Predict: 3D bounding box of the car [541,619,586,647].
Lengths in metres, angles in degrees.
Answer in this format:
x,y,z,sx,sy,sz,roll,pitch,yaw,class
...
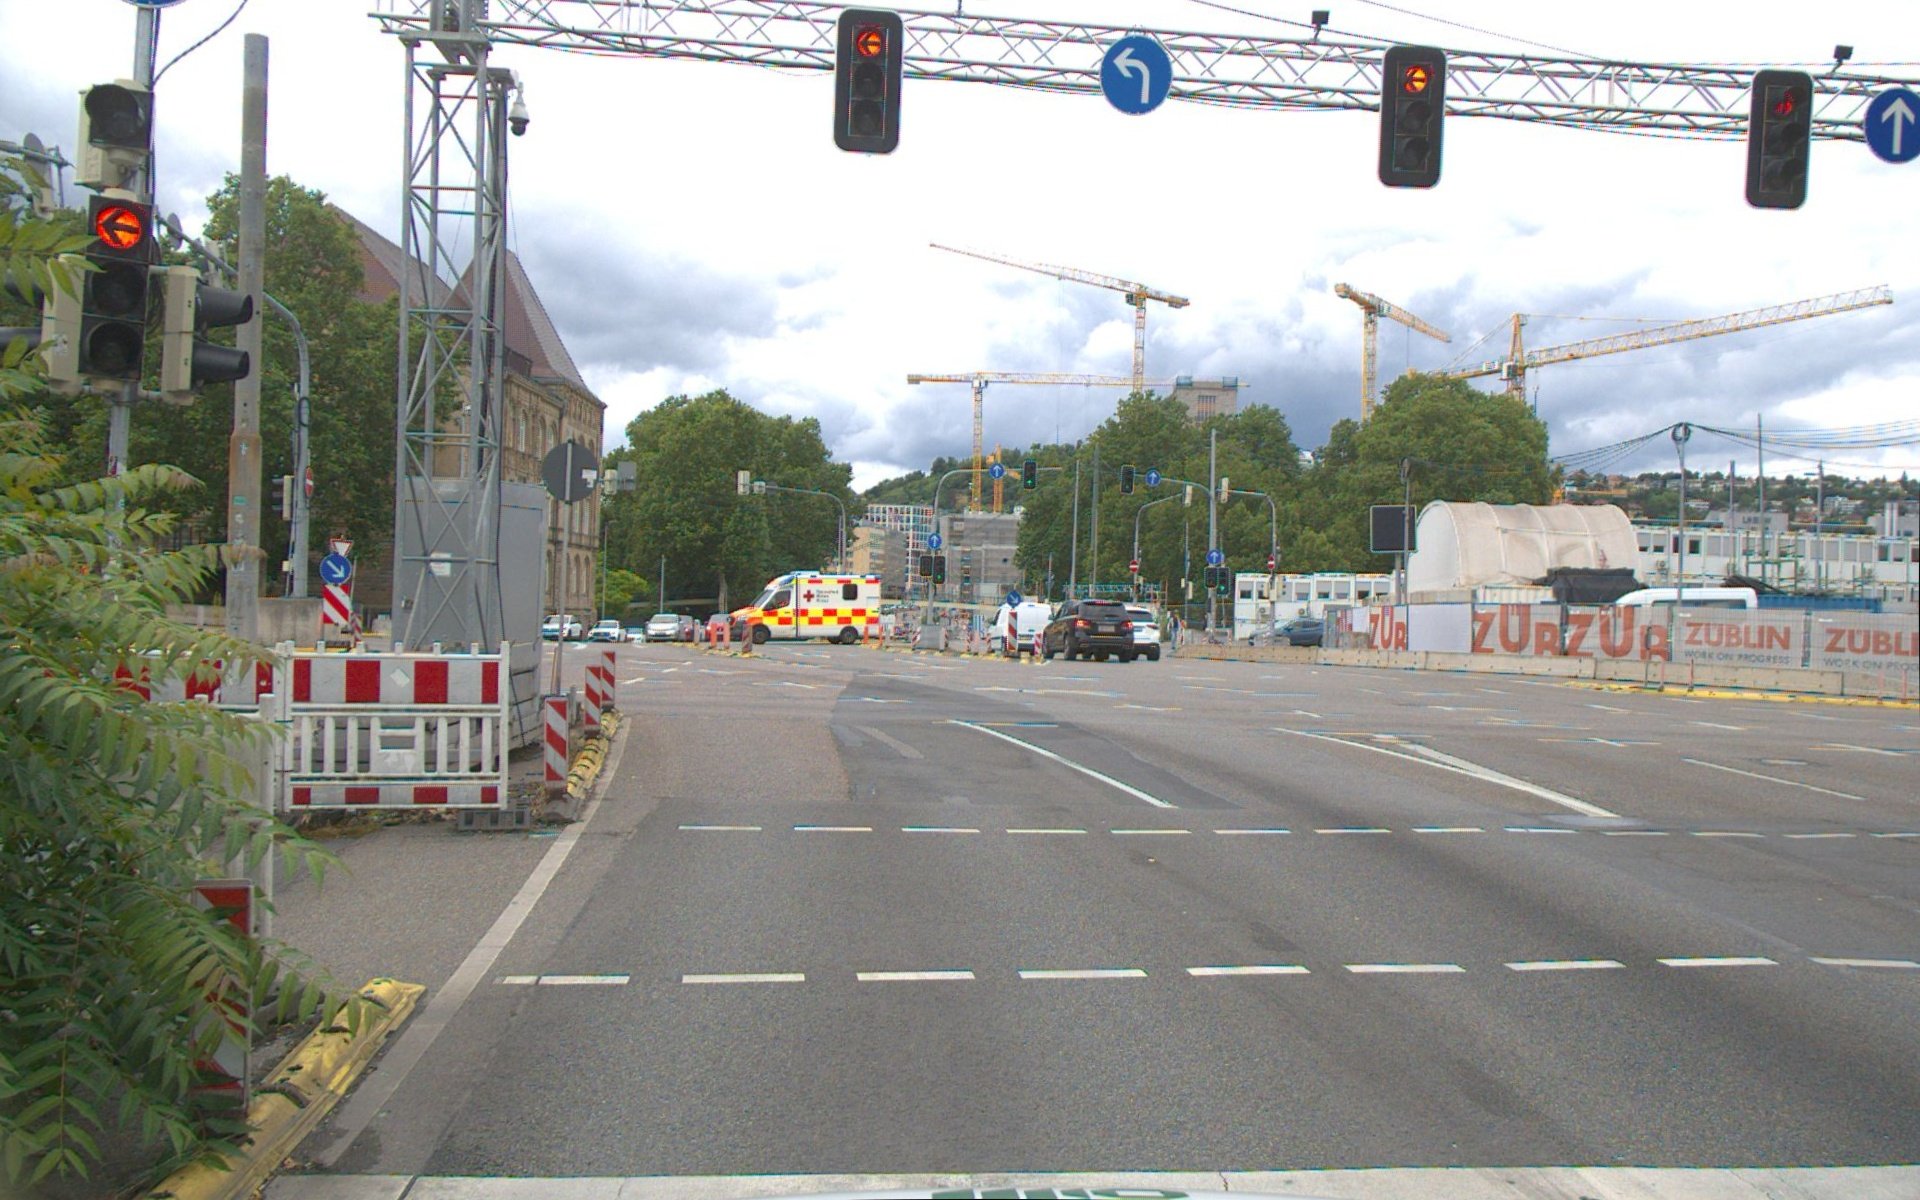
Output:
x,y,z,sx,sy,sz,roll,pitch,yaw,class
-21.027,1.731,87.796,1.642,1.422,3.681,1,0,-3,car

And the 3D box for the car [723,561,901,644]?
x,y,z,sx,sy,sz,roll,pitch,yaw,class
-5.867,0.115,65.503,6.636,3.105,2.359,1,0,-19,car

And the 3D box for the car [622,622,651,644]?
x,y,z,sx,sy,sz,roll,pitch,yaw,class
-22.314,2.280,114.058,1.644,1.422,3.677,1,0,-7,car

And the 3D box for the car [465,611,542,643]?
x,y,z,sx,sy,sz,roll,pitch,yaw,class
-20.907,1.231,75.912,1.641,1.422,3.684,1,0,18,car

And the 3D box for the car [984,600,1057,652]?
x,y,z,sx,sy,sz,roll,pitch,yaw,class
2.011,0.856,56.017,1.783,1.653,3.993,1,0,-8,car

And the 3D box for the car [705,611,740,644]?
x,y,z,sx,sy,sz,roll,pitch,yaw,class
-12.130,1.388,84.519,1.644,1.608,3.677,1,0,-7,car

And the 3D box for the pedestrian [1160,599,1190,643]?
x,y,z,sx,sy,sz,roll,pitch,yaw,class
10.162,1.004,78.297,1.075,2.049,1.181,1,-1,-12,pedestrian

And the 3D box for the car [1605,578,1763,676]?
x,y,z,sx,sy,sz,roll,pitch,yaw,class
20.818,0.749,47.685,3.902,2.708,1.683,1,0,13,car

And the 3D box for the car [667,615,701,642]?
x,y,z,sx,sy,sz,roll,pitch,yaw,class
-15.278,1.559,91.612,1.644,1.422,3.677,1,0,-7,car

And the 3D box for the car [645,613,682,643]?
x,y,z,sx,sy,sz,roll,pitch,yaw,class
-15.263,1.430,85.380,1.644,1.422,3.677,1,0,-7,car

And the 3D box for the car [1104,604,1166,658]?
x,y,z,sx,sy,sz,roll,pitch,yaw,class
5.811,1.006,55.136,1.642,1.732,3.374,1,0,-1,car

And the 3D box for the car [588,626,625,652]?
x,y,z,sx,sy,sz,roll,pitch,yaw,class
-21.680,2.386,101.561,1.643,1.422,3.680,2,0,-4,car

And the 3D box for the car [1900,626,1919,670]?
x,y,z,sx,sy,sz,roll,pitch,yaw,class
35.752,1.750,60.555,1.641,1.554,4.001,1,0,20,car

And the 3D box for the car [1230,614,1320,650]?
x,y,z,sx,sy,sz,roll,pitch,yaw,class
15.216,1.524,79.851,3.927,1.653,1.812,1,0,-20,car

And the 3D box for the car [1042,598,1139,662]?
x,y,z,sx,sy,sz,roll,pitch,yaw,class
3.773,0.844,48.532,1.799,1.776,4.245,1,0,-10,car
